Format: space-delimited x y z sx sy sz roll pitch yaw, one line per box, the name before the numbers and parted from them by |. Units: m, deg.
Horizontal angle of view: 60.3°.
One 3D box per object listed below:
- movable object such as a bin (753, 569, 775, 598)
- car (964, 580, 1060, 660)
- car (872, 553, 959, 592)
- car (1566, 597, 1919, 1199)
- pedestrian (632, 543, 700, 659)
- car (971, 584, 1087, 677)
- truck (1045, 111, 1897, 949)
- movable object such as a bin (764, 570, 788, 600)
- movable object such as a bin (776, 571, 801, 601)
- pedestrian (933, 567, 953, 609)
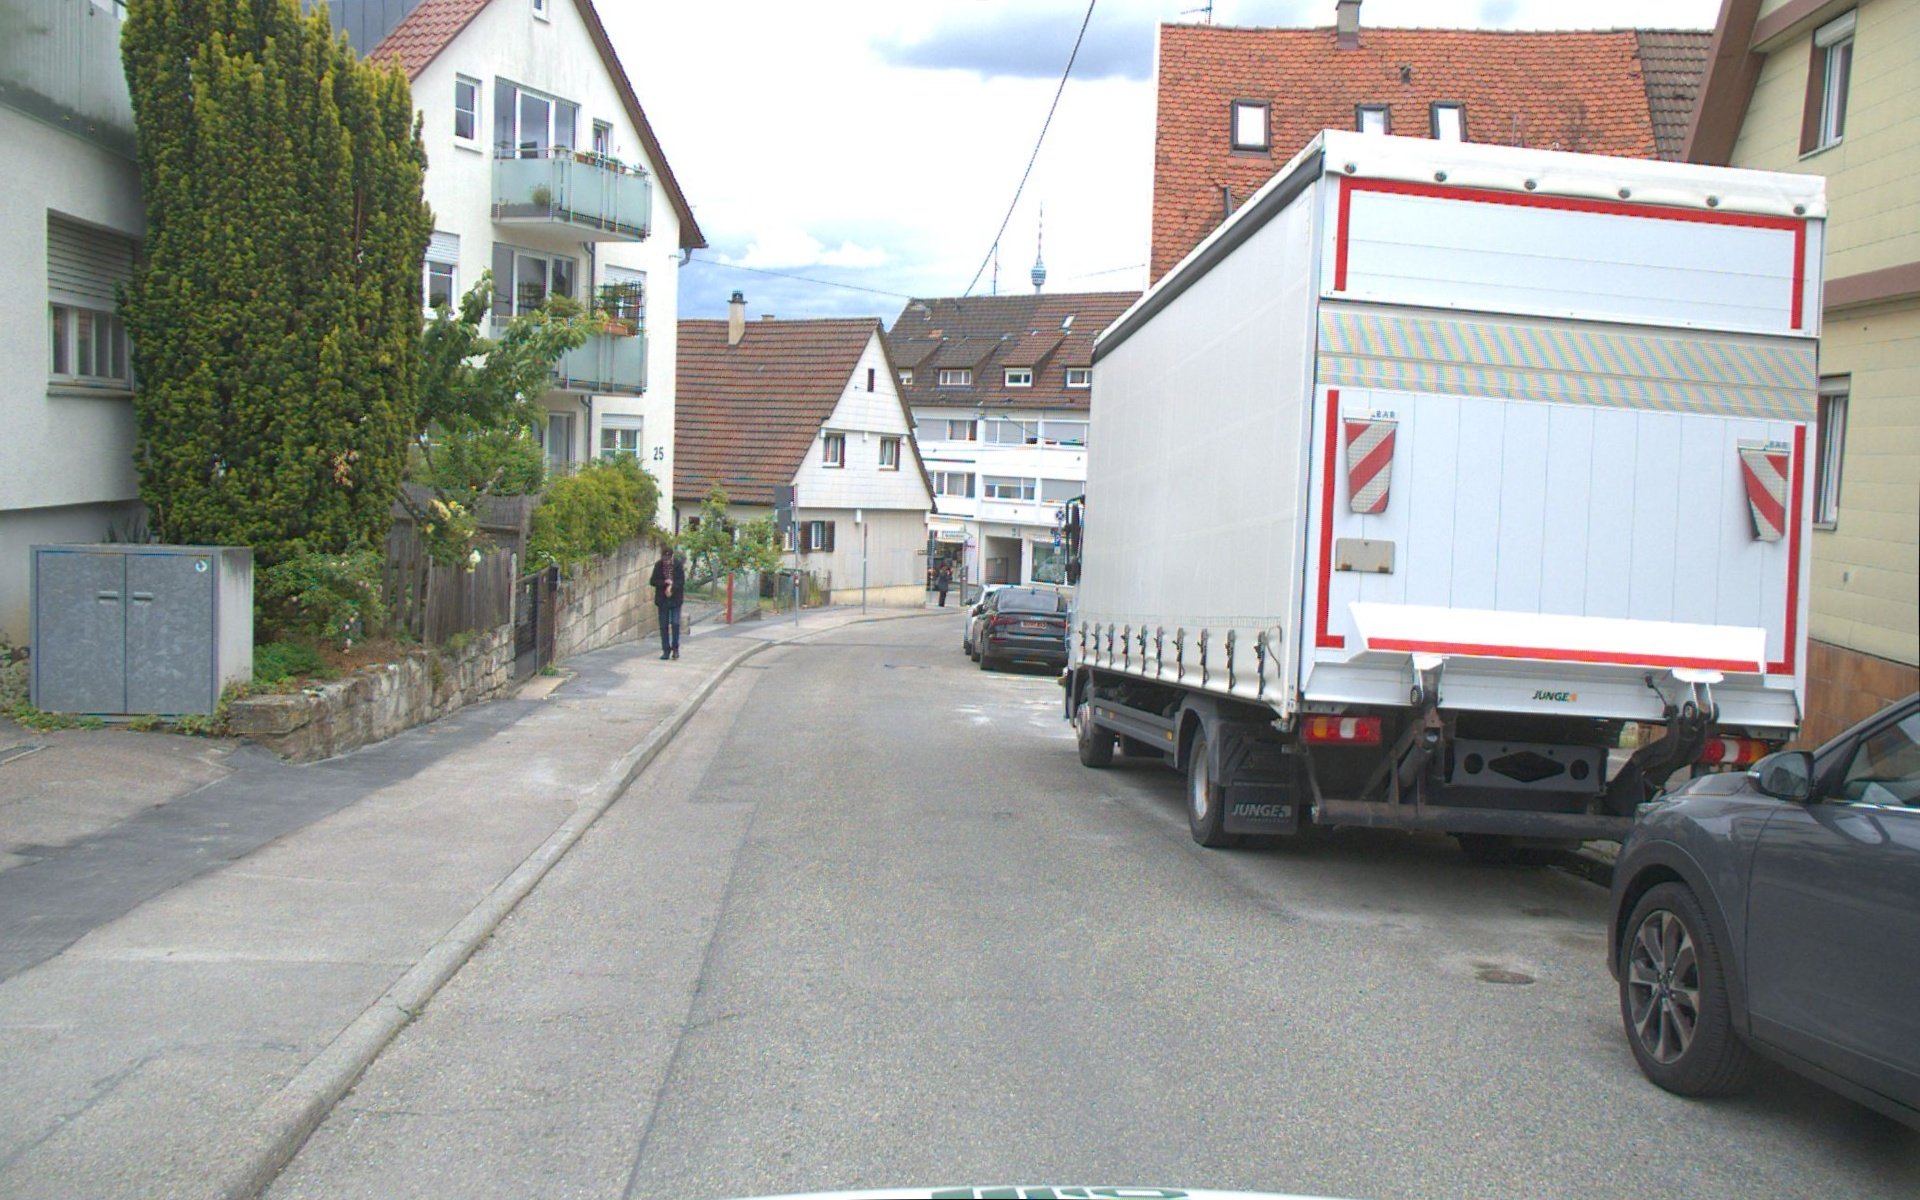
movable object such as a bin | -6.454 -0.552 54.470 0.486 0.892 0.452 7 1 31
car | 1.048 0.376 35.271 1.758 1.470 4.297 4 0 -1
car | -2.302 -1.417 85.242 4.291 1.810 1.936 4 3 41
car | 3.227 0.823 4.046 1.699 1.532 4.048 4 0 -4
pedestrian | -4.547 0.010 25.656 0.824 1.706 0.976 4 0 -5
car | 1.176 0.492 29.835 1.640 1.433 4.049 4 0 -3
truck | 2.566 -0.351 11.554 2.624 3.659 8.097 3 1 -5
movable object such as a bin | -6.024 -0.488 54.146 0.517 0.932 0.489 7 1 31
movable object such as a bin | -5.580 -0.468 53.898 0.517 0.899 0.489 7 1 31
pedestrian | -0.714 -0.522 69.764 0.635 1.713 0.603 2 2 -12
